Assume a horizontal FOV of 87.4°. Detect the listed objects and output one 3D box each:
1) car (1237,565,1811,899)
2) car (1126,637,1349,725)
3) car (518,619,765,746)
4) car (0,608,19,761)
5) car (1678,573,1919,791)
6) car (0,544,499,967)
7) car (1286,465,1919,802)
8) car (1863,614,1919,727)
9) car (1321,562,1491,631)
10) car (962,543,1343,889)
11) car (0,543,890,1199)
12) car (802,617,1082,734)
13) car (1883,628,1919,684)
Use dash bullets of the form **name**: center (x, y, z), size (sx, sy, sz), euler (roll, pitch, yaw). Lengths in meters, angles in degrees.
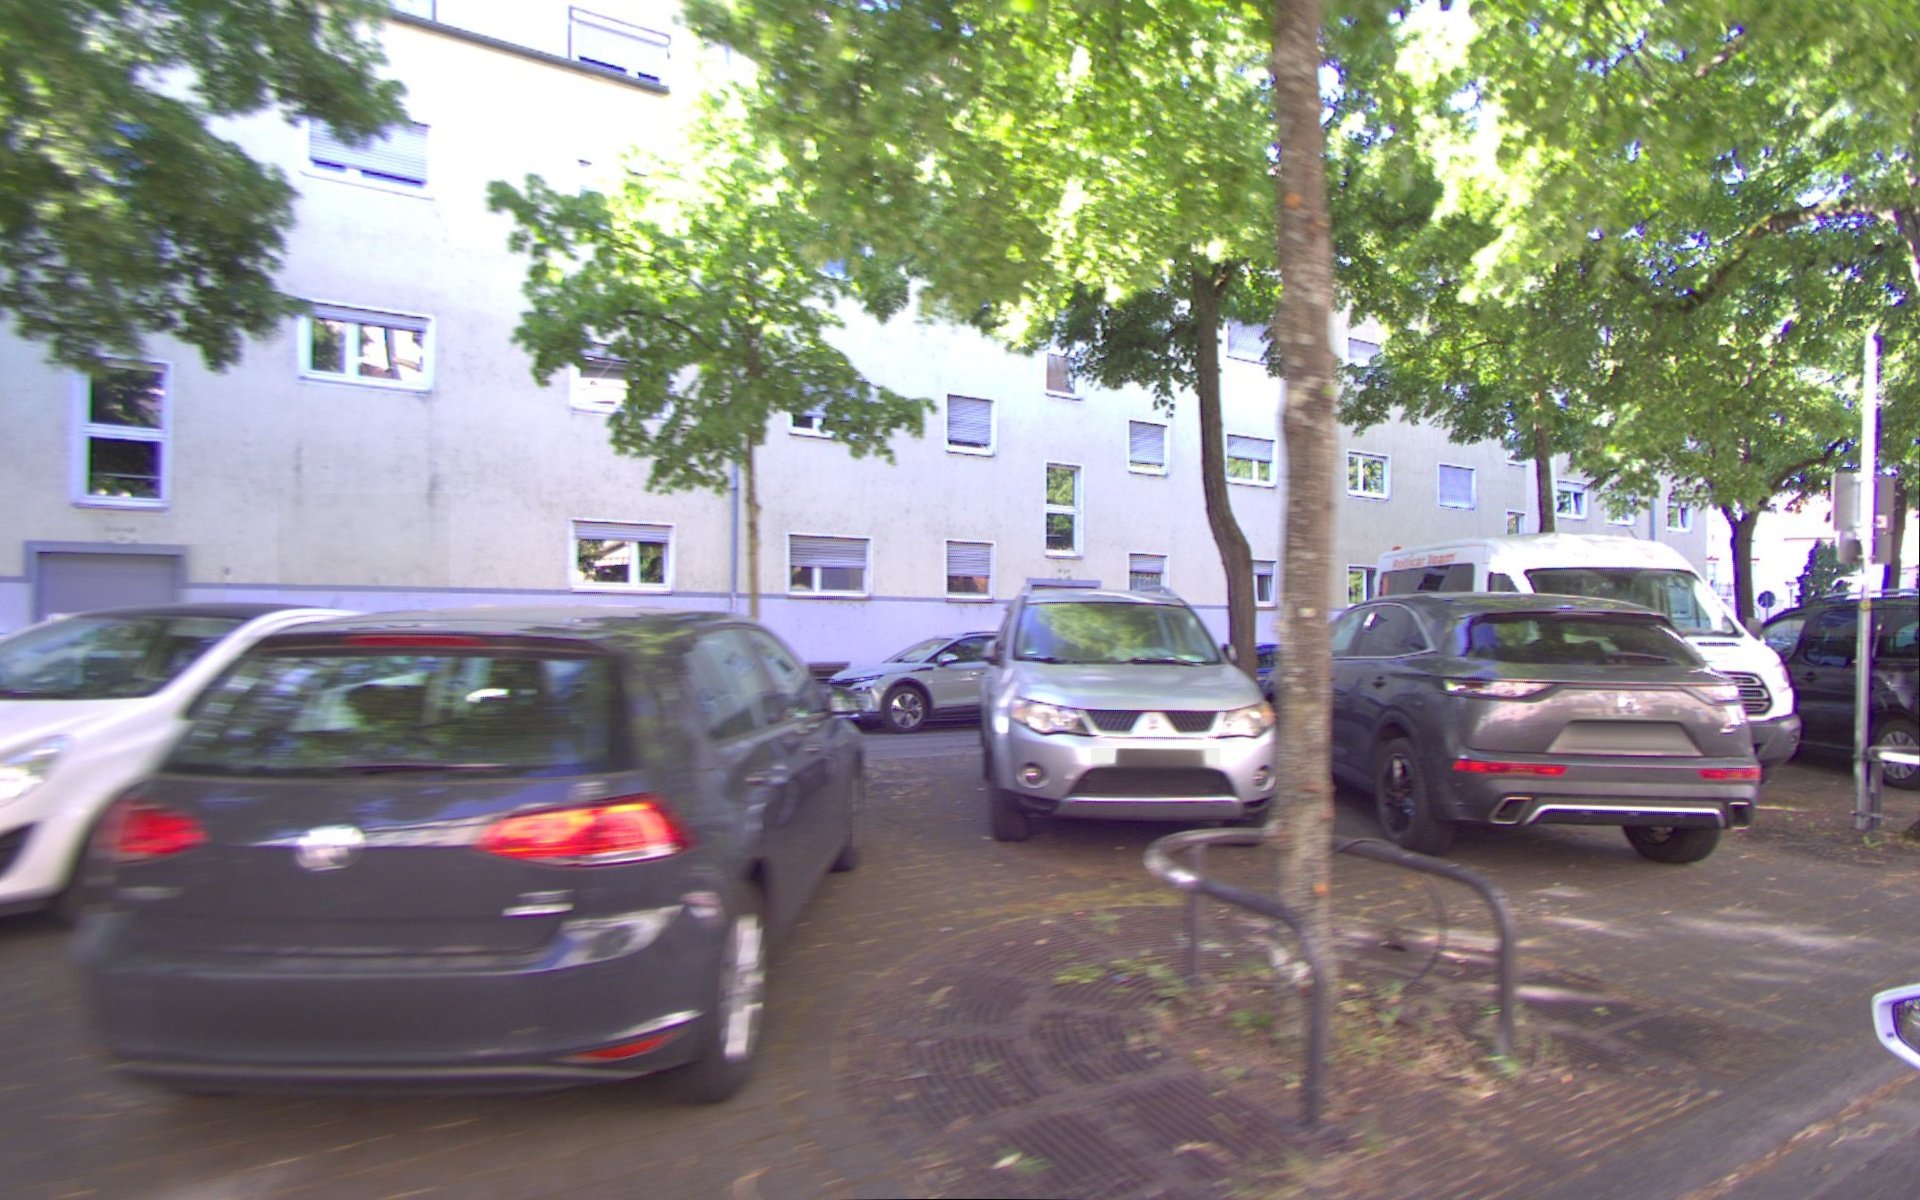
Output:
- **car**: center (3.476, 0.660, 7.271), size (1.623, 1.663, 4.275), euler (2, 1, -1)
- **car**: center (5.770, 1.600, 20.735), size (4.538, 1.537, 1.763), euler (1, 1, -30)
- **car**: center (-4.606, 1.126, 14.587), size (3.148, 1.580, 1.466), euler (1, 1, -32)
- **car**: center (-12.567, 0.893, 9.976), size (4.326, 1.741, 1.837), euler (2, -3, -30)
- **car**: center (9.479, 0.744, 10.251), size (1.806, 1.914, 3.853), euler (0, 0, 5)
- **car**: center (-4.441, 0.621, 5.638), size (1.809, 1.576, 3.917), euler (1, -1, 1)
- **car**: center (6.356, 0.529, 11.143), size (2.414, 2.656, 6.072), euler (2, -5, -14)
- **car**: center (14.715, 1.029, 13.415), size (1.607, 1.603, 3.731), euler (2, 0, -10)
- **car**: center (10.640, -0.063, 23.897), size (4.101, 1.514, 1.763), euler (1, 0, -33)
- **car**: center (1.045, 0.666, 7.588), size (1.862, 1.800, 4.393), euler (2, -1, -2)
- **car**: center (-1.306, 0.679, 4.258), size (1.698, 1.501, 4.109), euler (2, -1, 0)
- **car**: center (-0.241, 1.197, 16.964), size (4.507, 1.745, 1.732), euler (1, -2, -32)
- **car**: center (26.599, 1.481, 25.940), size (1.618, 1.485, 3.787), euler (1, -2, -17)
